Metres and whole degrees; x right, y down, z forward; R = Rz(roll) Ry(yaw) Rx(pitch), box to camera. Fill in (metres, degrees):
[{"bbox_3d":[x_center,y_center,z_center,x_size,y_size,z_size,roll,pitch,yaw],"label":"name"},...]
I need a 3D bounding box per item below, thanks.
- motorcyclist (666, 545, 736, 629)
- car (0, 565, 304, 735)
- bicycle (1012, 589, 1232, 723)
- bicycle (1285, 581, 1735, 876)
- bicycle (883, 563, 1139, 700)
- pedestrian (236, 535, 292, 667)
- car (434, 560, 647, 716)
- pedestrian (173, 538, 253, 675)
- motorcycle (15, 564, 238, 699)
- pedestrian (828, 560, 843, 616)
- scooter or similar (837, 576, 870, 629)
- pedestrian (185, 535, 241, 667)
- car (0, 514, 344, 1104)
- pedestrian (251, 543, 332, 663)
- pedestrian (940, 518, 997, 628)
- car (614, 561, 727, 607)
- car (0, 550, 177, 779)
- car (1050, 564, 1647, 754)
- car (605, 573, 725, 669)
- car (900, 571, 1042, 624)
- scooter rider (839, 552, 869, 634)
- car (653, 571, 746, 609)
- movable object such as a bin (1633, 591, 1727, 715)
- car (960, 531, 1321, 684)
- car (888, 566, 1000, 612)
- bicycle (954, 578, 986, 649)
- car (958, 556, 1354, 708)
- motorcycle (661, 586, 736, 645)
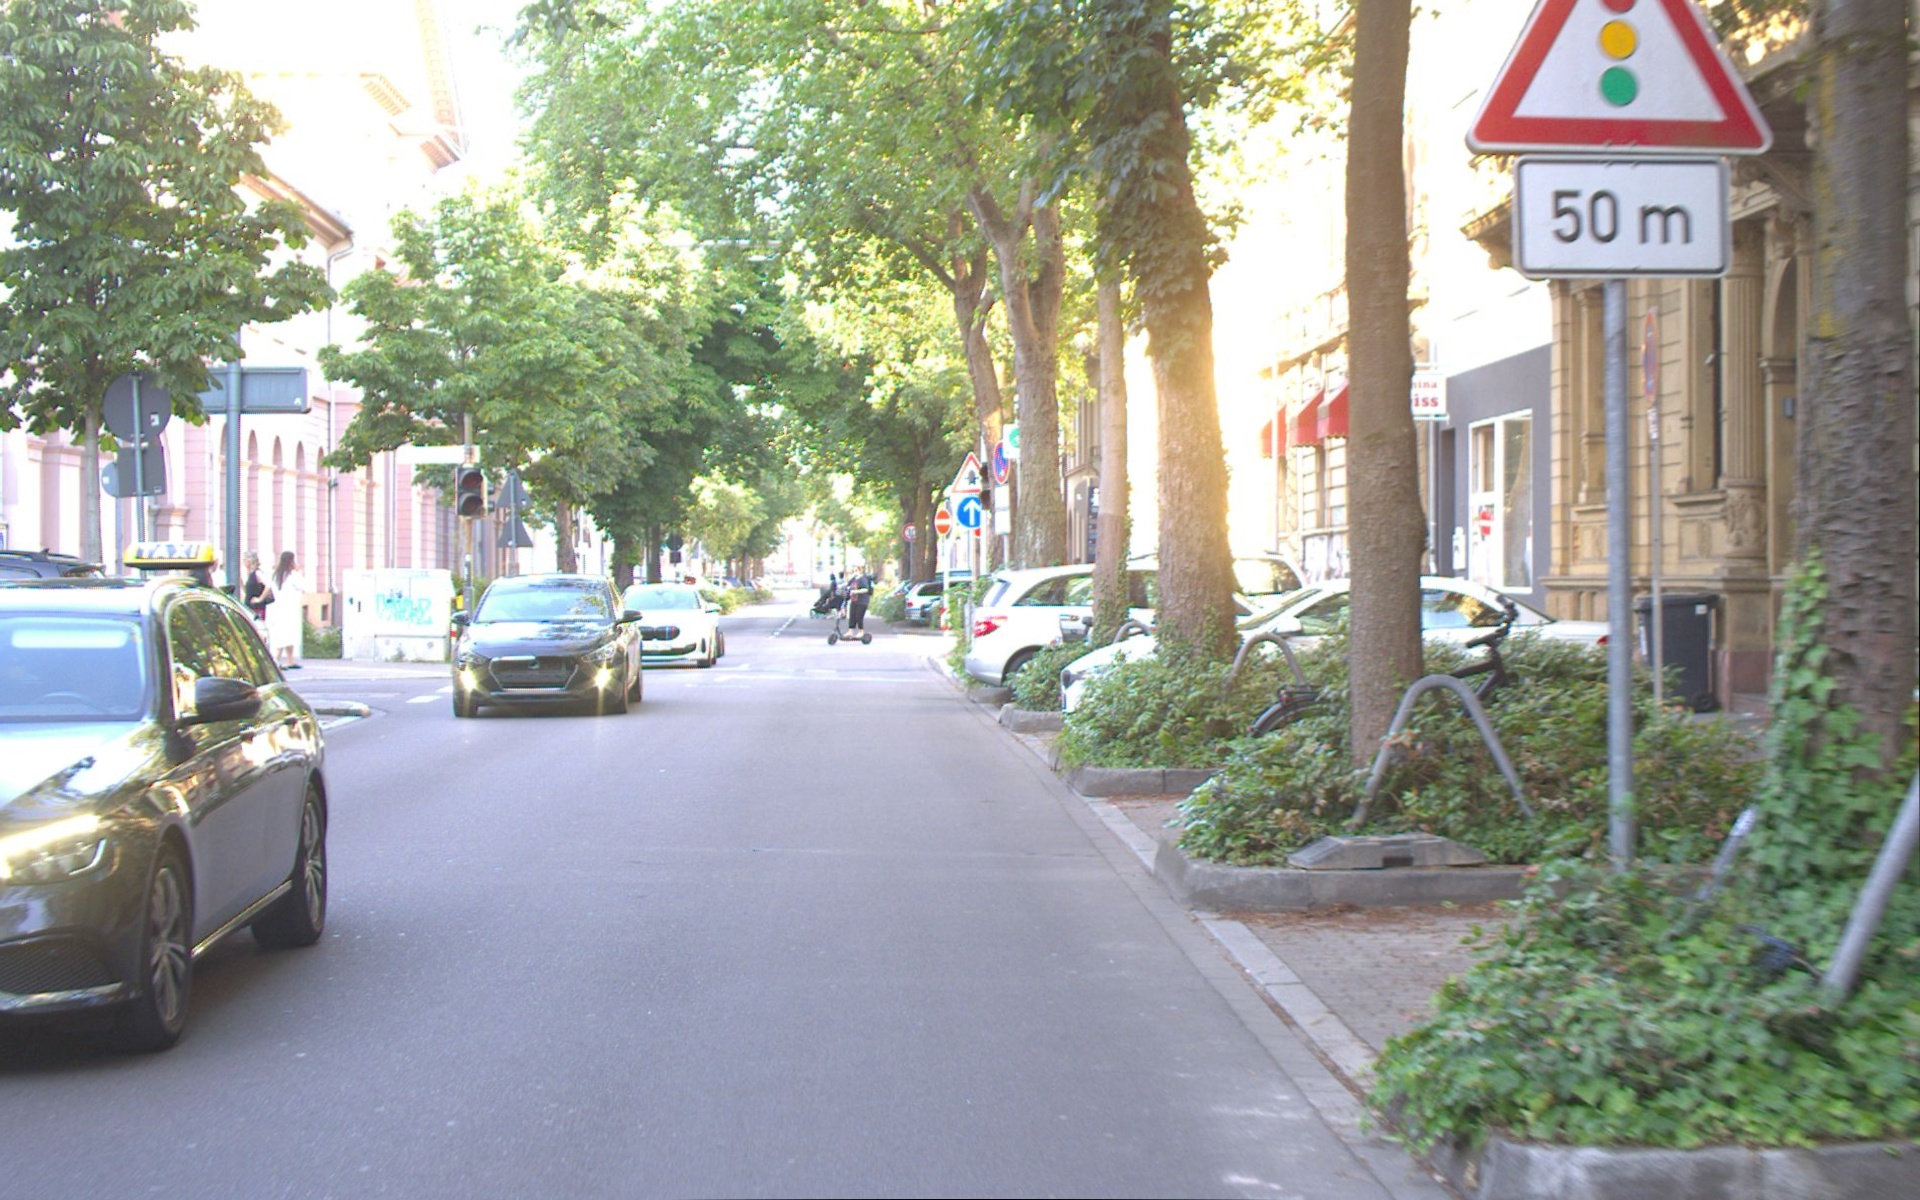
[{"bbox_3d":[-4.941,-0.248,65.646,1.280,1.586,1.077,0,0,-2],"label":"motorcyclist"},{"bbox_3d":[-8.114,0.432,31.897,3.741,1.453,1.735,2,0,-3],"label":"car"},{"bbox_3d":[1.566,0.536,33.220,2.019,1.200,0.488,-2,0,-14],"label":"bicycle"},{"bbox_3d":[2.632,0.609,16.526,2.046,1.356,0.508,1,1,-4],"label":"bicycle"},{"bbox_3d":[0.630,0.386,42.737,3.112,1.657,0.658,1,0,-6],"label":"bicycle"},{"bbox_3d":[-9.777,0.013,48.292,0.554,1.844,0.611,0,0,13],"label":"pedestrian"},{"bbox_3d":[-4.423,0.364,36.761,1.877,1.543,4.275,-1,1,-2],"label":"car"},{"bbox_3d":[-10.039,0.085,46.167,0.768,1.785,0.793,2,1,-31],"label":"pedestrian"},{"bbox_3d":[-8.999,0.341,37.116,2.150,1.414,0.967,-1,0,20],"label":"motorcycle"},{"bbox_3d":[-4.478,-0.423,123.650,0.502,2.007,0.621,1,0,0],"label":"pedestrian"},{"bbox_3d":[-2.330,0.061,75.542,0.502,1.141,1.249,0,0,9],"label":"scooter or similar"},{"bbox_3d":[-10.521,0.007,48.427,0.554,1.844,0.611,0,0,13],"label":"pedestrian"},{"bbox_3d":[-3.377,0.572,11.844,1.876,1.635,4.647,-1,1,-3],"label":"car"},{"bbox_3d":[-9.782,0.048,50.330,0.842,1.732,0.776,1,-1,-45],"label":"pedestrian"},{"bbox_3d":[0.161,-0.527,67.554,1.043,2.139,1.063,1,0,-1],"label":"pedestrian"},{"bbox_3d":[-13.268,-0.741,157.708,5.063,2.076,2.263,-1,1,-2],"label":"car"},{"bbox_3d":[-8.089,0.428,25.544,4.093,1.626,1.936,1,0,-1],"label":"car"},{"bbox_3d":[3.045,0.451,27.710,4.583,1.432,1.925,-1,1,0],"label":"car"},{"bbox_3d":[-5.039,0.330,59.151,1.876,1.543,4.275,-1,1,-3],"label":"car"},{"bbox_3d":[0.326,-0.076,104.144,4.192,1.475,1.852,-2,1,-2],"label":"car"},{"bbox_3d":[-2.326,-0.155,75.519,0.494,1.785,0.874,-1,-1,8],"label":"scooter rider"},{"bbox_3d":[-14.677,-0.563,194.011,5.064,2.076,2.263,-1,1,-1],"label":"car"},{"bbox_3d":[6.326,0.460,30.215,0.657,1.060,0.615,-1,0,-2],"label":"movable object such as a bin"},{"bbox_3d":[2.353,0.086,45.588,4.539,1.908,1.950,-1,0,-4],"label":"car"},{"bbox_3d":[-0.596,-0.392,125.106,4.014,1.617,1.781,-1,0,-3],"label":"car"},{"bbox_3d":[0.196,0.255,66.598,0.417,1.368,1.288,-1,0,9],"label":"bicycle"},{"bbox_3d":[2.128,0.333,37.968,4.225,1.555,1.971,-1,1,1],"label":"car"},{"bbox_3d":[-4.974,0.290,65.541,1.312,1.086,2.396,0,0,-2],"label":"motorcycle"}]
